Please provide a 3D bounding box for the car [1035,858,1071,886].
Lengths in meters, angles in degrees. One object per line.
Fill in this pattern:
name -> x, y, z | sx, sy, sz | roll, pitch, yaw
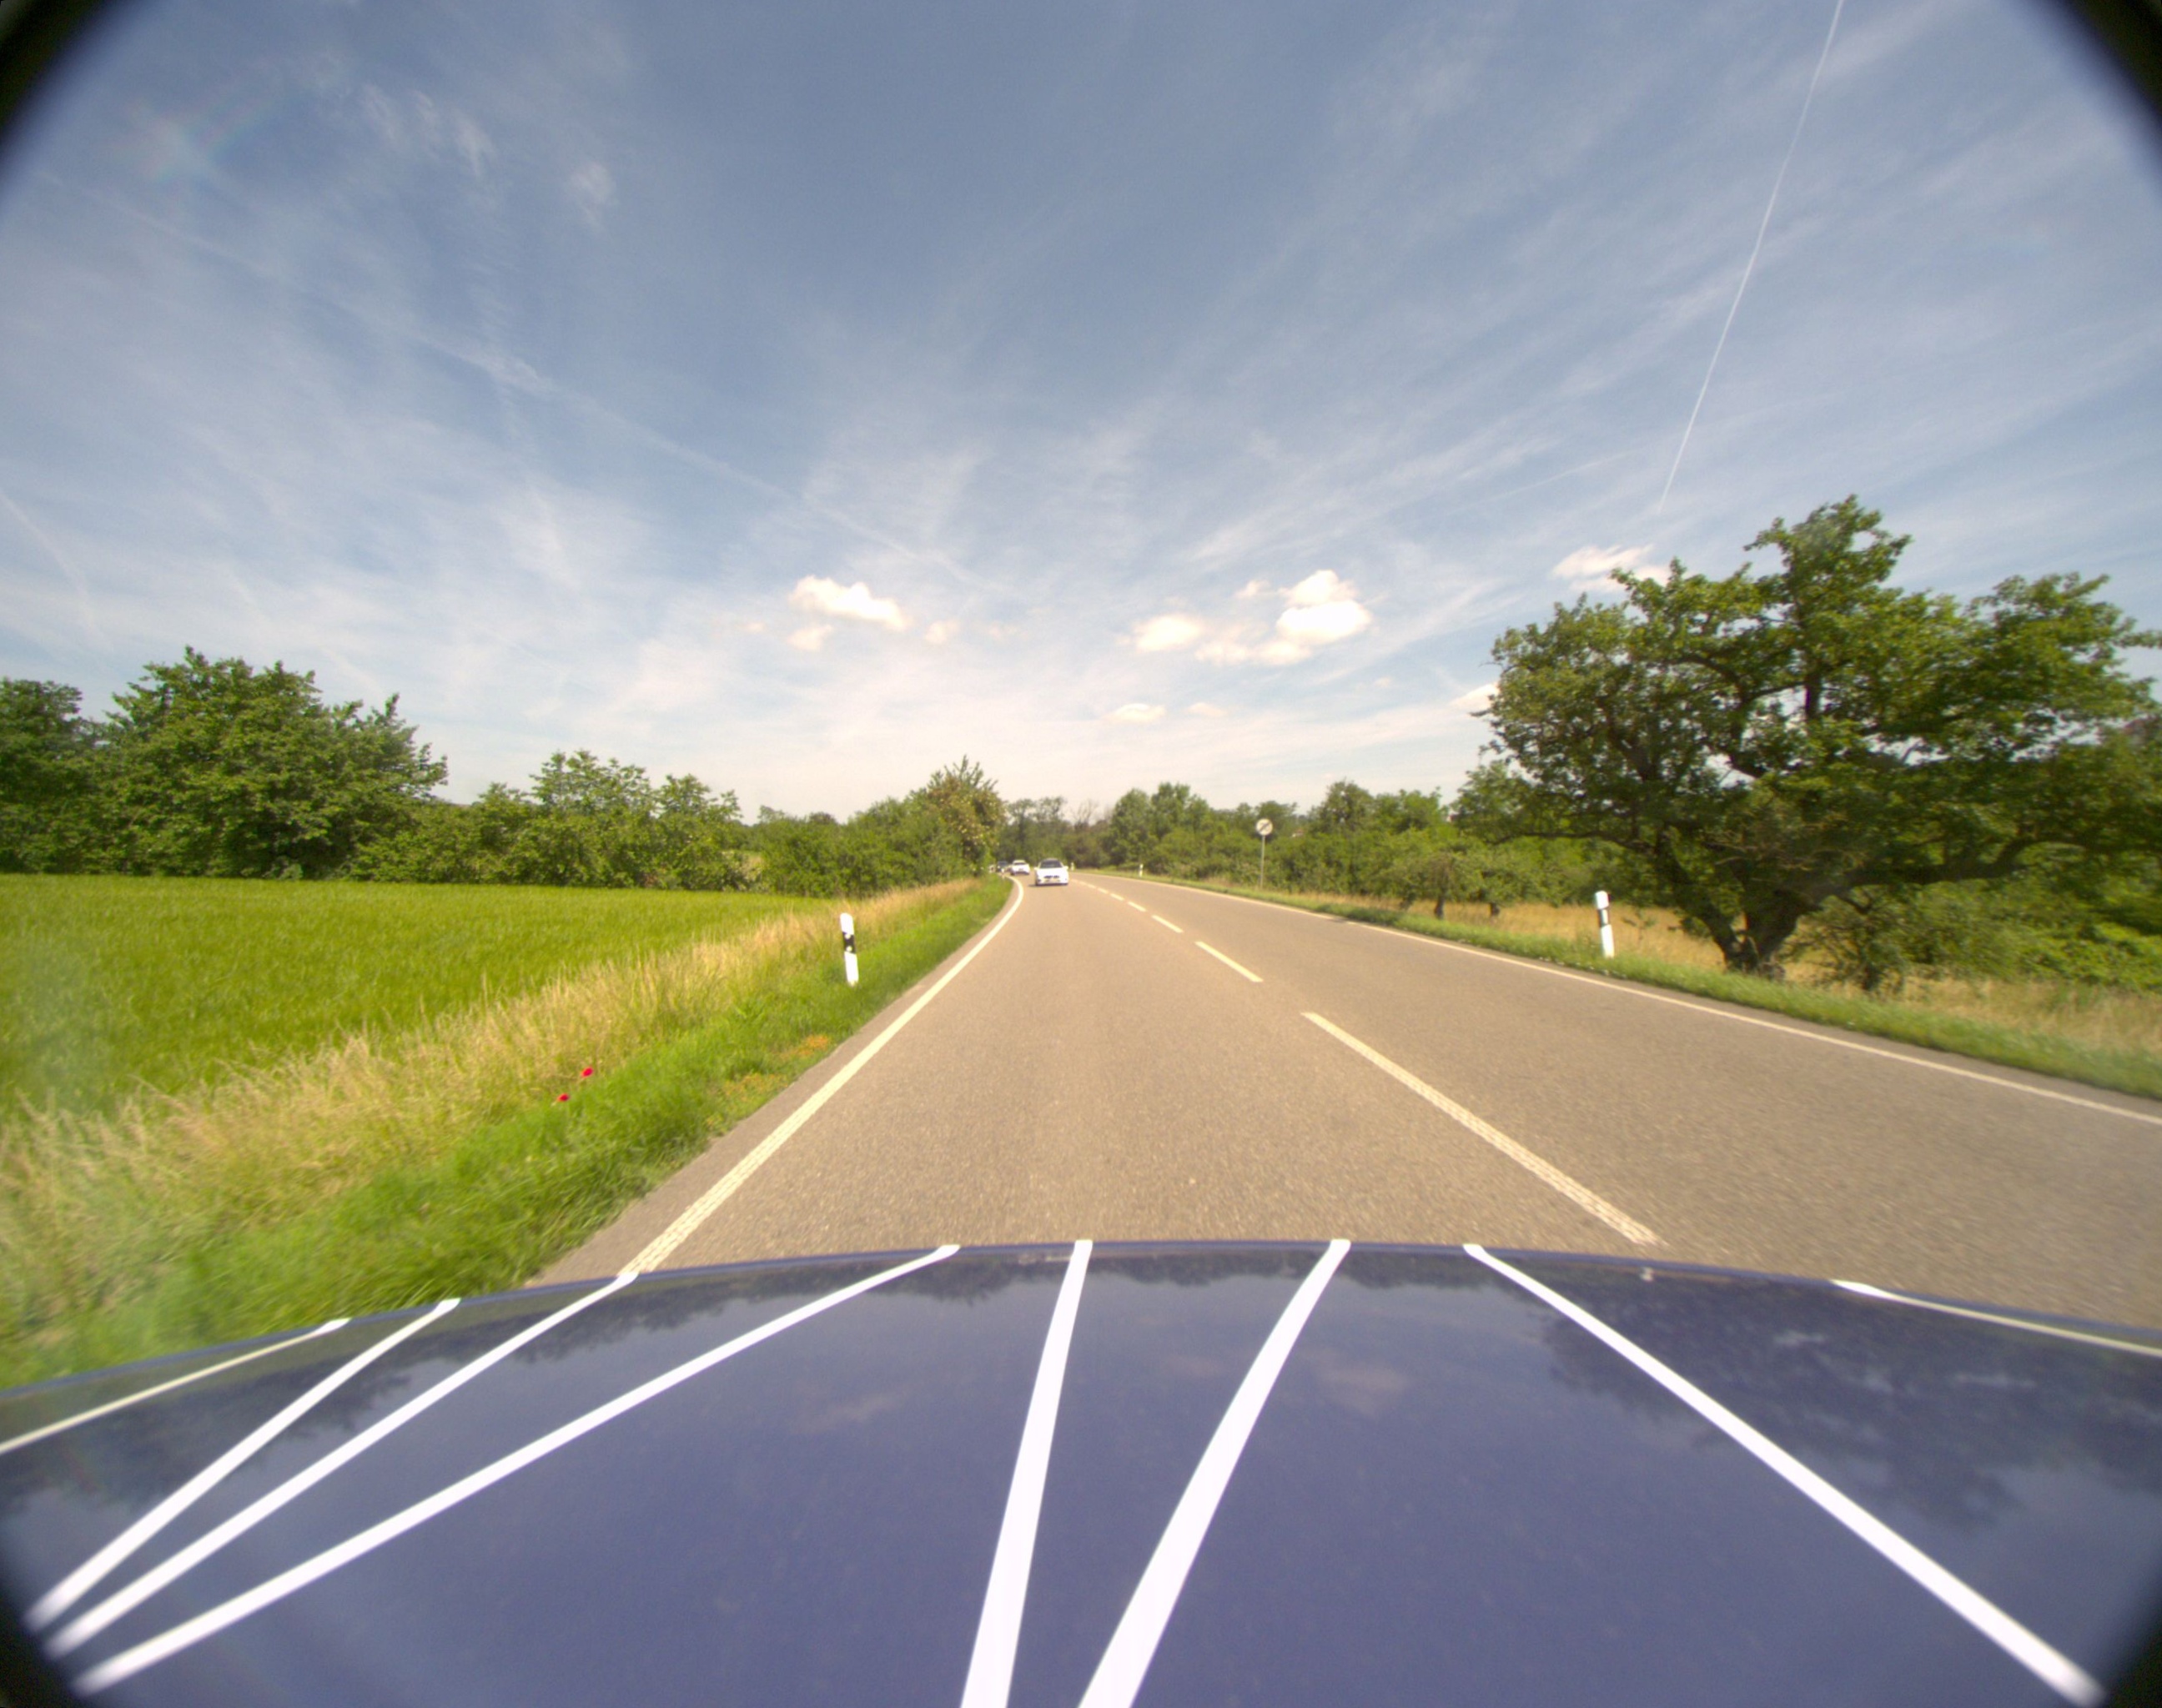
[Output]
car -> -1.720, 1.018, 44.904 | 1.930, 1.441, 4.533 | -3, 0, -4

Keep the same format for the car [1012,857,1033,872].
car -> -6.168, 1.057, 79.286 | 1.930, 1.441, 3.997 | -2, 0, -7

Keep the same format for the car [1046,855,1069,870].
car -> -2.723, 0.932, 86.439 | 1.931, 1.616, 3.996 | -2, 0, -10

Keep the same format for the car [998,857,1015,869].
car -> -10.221, 1.240, 104.155 | 1.931, 1.442, 4.072 | 1, 1, -9

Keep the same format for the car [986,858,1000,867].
car -> -14.636, 1.410, 125.757 | 1.931, 1.441, 3.996 | 0, 0, -12
